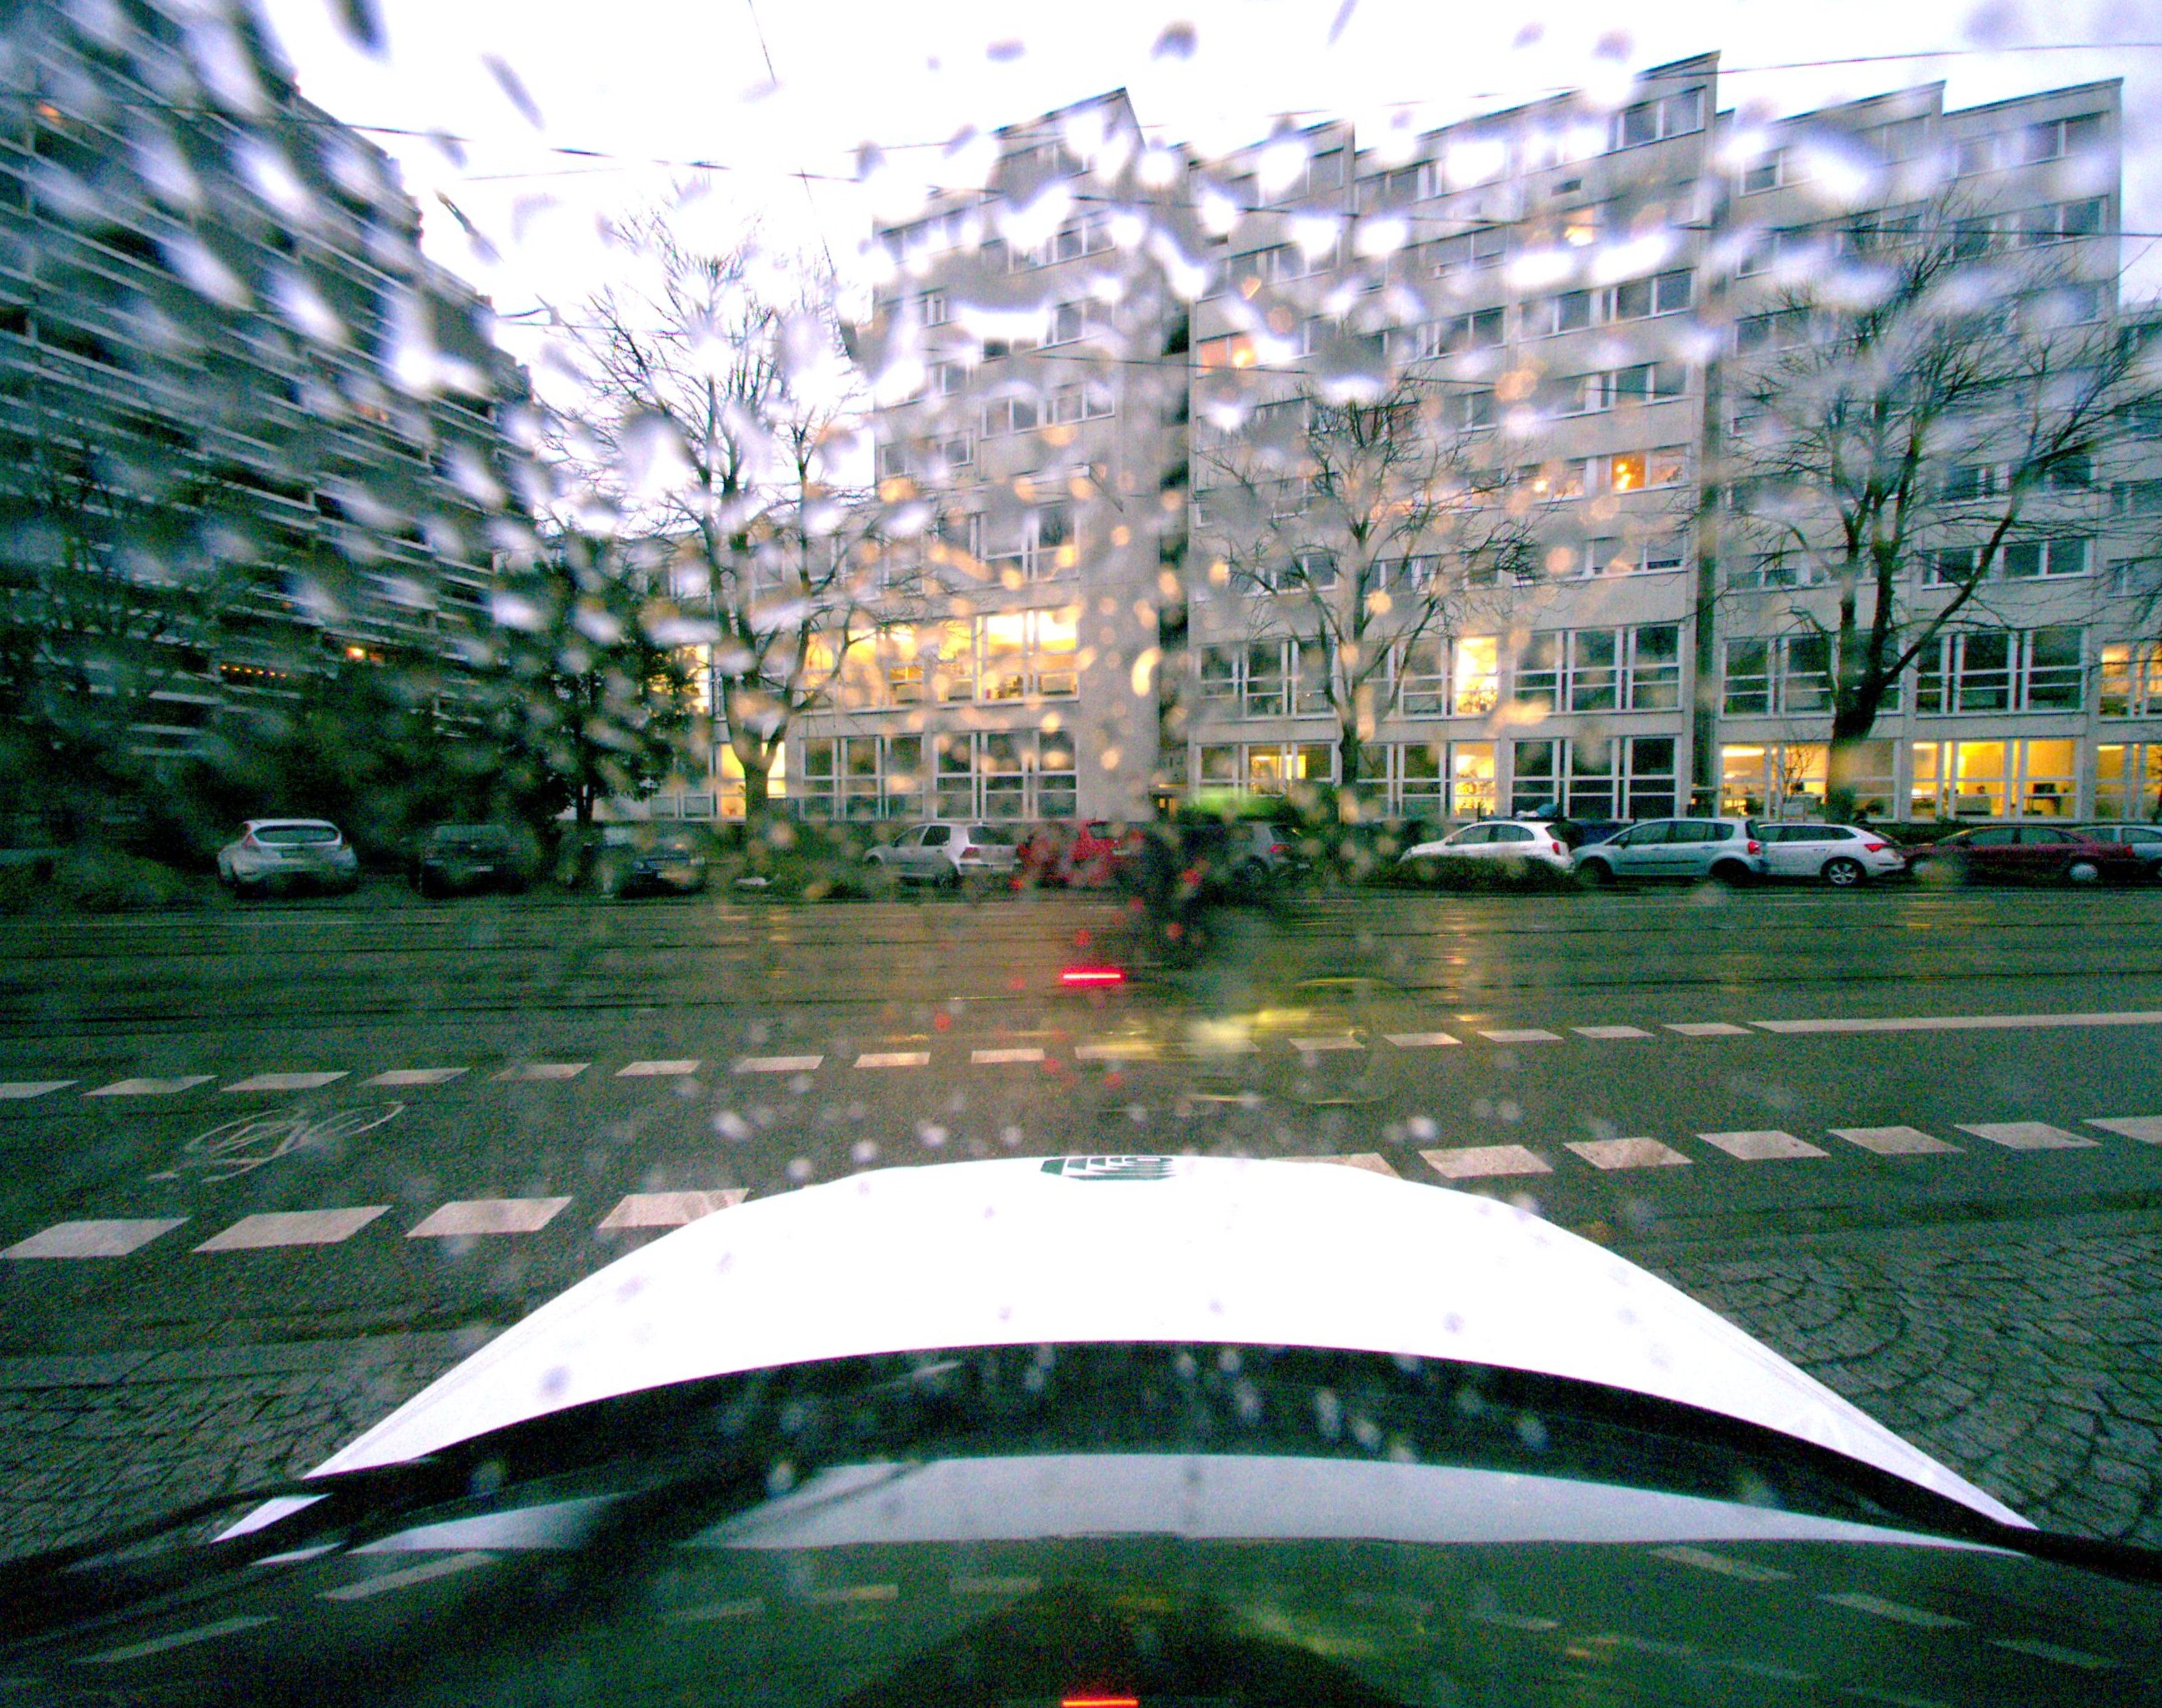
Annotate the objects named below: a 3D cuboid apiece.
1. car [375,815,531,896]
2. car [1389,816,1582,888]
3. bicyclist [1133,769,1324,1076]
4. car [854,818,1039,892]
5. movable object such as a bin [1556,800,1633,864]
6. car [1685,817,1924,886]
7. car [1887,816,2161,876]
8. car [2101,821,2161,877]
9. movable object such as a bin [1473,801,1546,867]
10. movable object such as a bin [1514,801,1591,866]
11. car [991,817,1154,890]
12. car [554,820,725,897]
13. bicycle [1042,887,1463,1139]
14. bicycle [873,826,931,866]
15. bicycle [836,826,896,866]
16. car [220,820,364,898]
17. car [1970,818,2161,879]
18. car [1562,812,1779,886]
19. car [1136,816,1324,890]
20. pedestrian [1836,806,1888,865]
[{"bbox_3d":[-12.940,-0.032,16.694,3.950,1.462,1.867,1,3,43],"label":"car"},{"bbox_3d":[9.603,-0.109,19.458,3.827,1.551,1.704,1,3,40],"label":"car"},{"bbox_3d":[0.727,0.315,4.202,0.844,1.446,0.658,-1,2,-3],"label":"bicyclist"},{"bbox_3d":[-3.011,-0.040,17.847,3.949,1.446,1.804,1,3,39],"label":"car"},{"bbox_3d":[15.613,-0.683,24.798,1.311,1.859,1.573,-2,2,-4],"label":"movable object such as a bin"},{"bbox_3d":[16.874,-0.105,19.154,1.745,1.443,3.955,-1,2,-38],"label":"car"},{"bbox_3d":[23.215,-0.221,20.265,4.292,1.352,1.761,1,2,37],"label":"car"},{"bbox_3d":[29.599,-0.138,21.003,3.803,1.423,1.748,1,3,39],"label":"car"},{"bbox_3d":[12.886,-0.615,24.560,1.311,1.859,1.573,-2,2,-4],"label":"movable object such as a bin"},{"bbox_3d":[14.271,-0.639,24.693,1.386,1.859,1.573,-2,2,-4],"label":"movable object such as a bin"},{"bbox_3d":[-0.247,-0.066,18.366,3.408,1.492,1.740,1,3,43],"label":"car"},{"bbox_3d":[-9.096,0.025,16.653,3.950,1.378,1.867,1,3,43],"label":"car"},{"bbox_3d":[0.822,0.766,4.232,2.017,1.096,0.709,-1,2,-3],"label":"bicycle"},{"bbox_3d":[-5.251,-0.257,24.072,0.635,1.120,2.216,0,2,18],"label":"bicycle"},{"bbox_3d":[-6.422,-0.269,24.432,0.635,1.120,2.216,0,2,18],"label":"bicycle"},{"bbox_3d":[-16.167,0.034,16.628,3.950,1.399,1.867,1,3,43],"label":"car"},{"bbox_3d":[25.975,-0.167,21.053,1.746,1.463,3.954,-1,2,-40],"label":"car"},{"bbox_3d":[13.757,-0.162,19.133,3.950,1.563,1.747,1,3,43],"label":"car"},{"bbox_3d":[3.286,-0.077,18.310,3.805,1.492,1.707,1,3,41],"label":"car"},{"bbox_3d":[22.754,-0.535,23.743,0.968,1.676,0.598,-1,2,-6],"label":"pedestrian"}]
